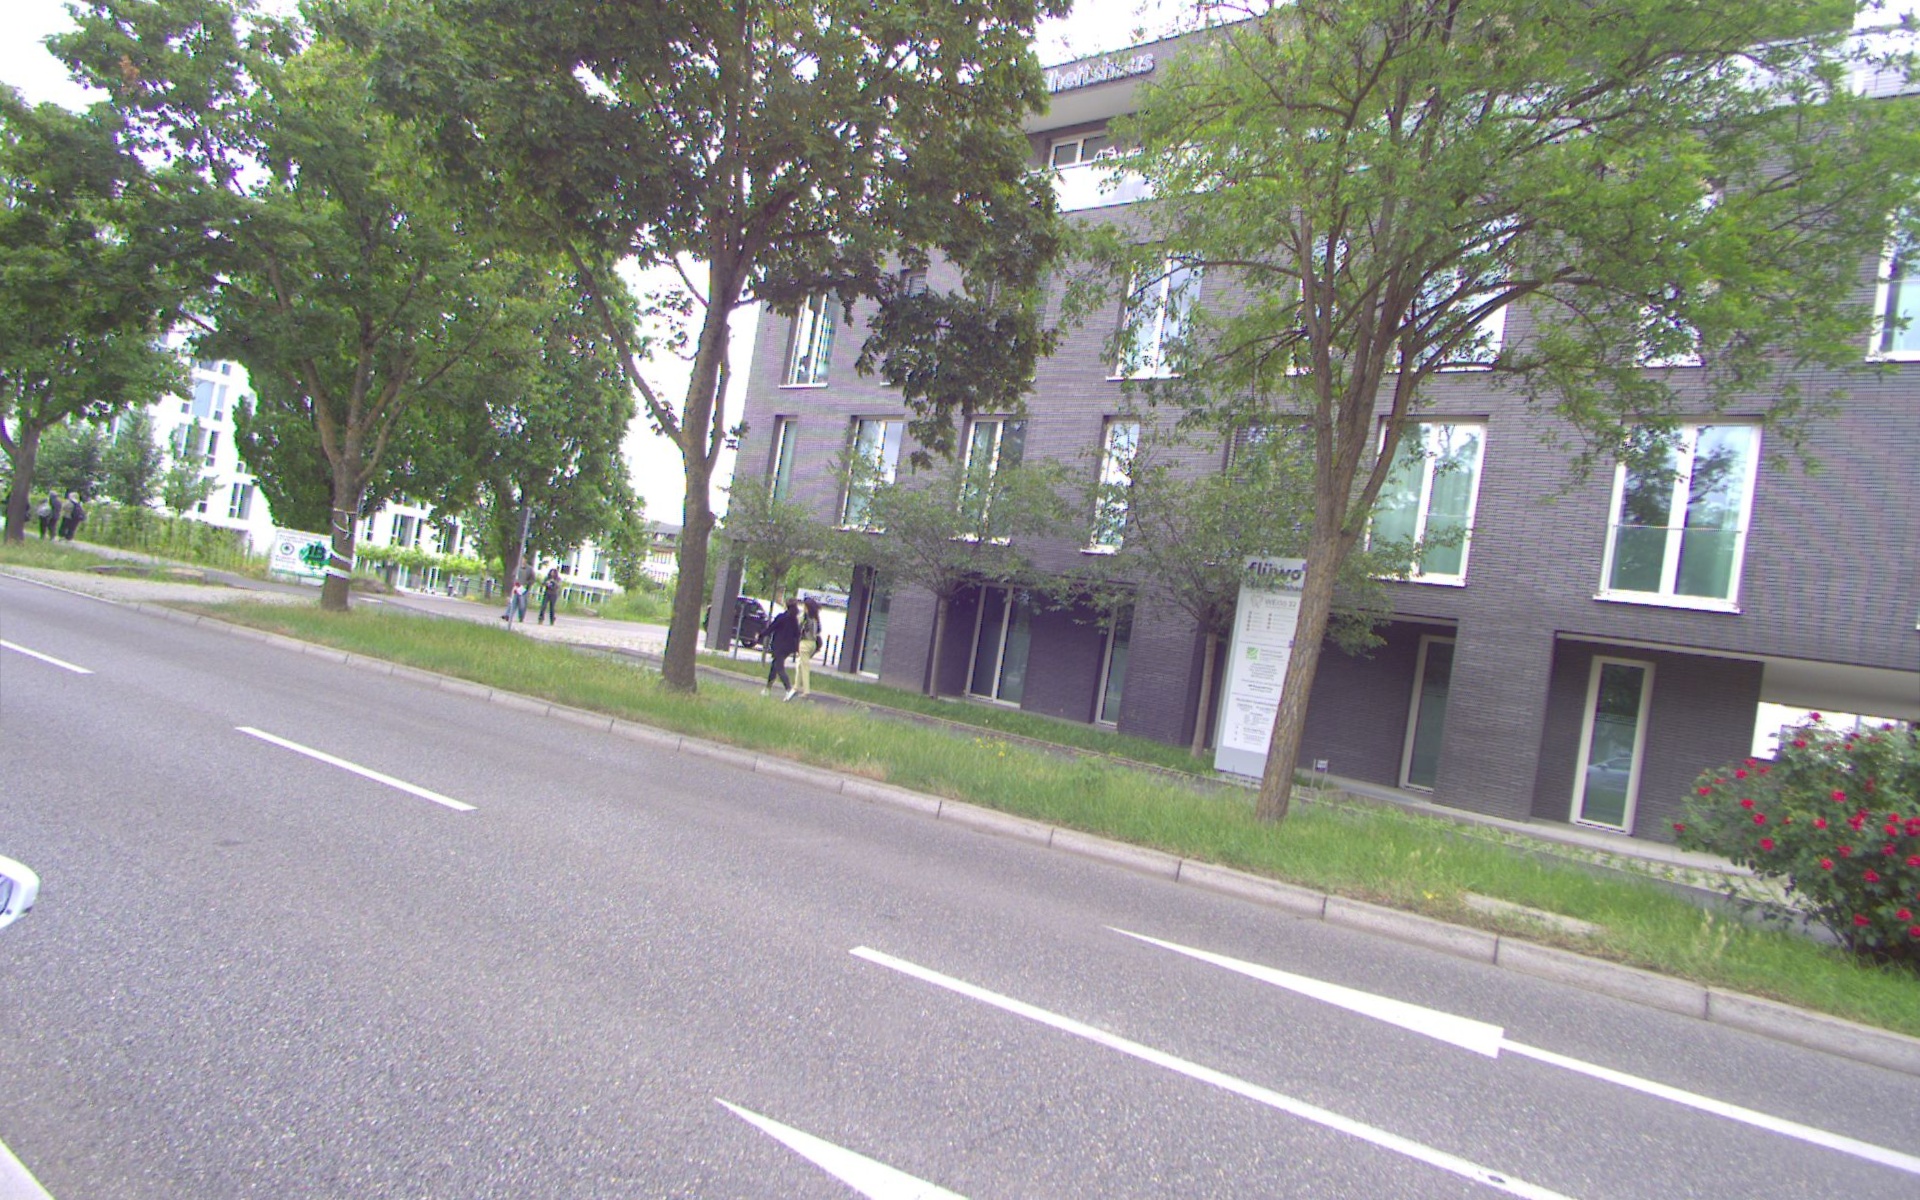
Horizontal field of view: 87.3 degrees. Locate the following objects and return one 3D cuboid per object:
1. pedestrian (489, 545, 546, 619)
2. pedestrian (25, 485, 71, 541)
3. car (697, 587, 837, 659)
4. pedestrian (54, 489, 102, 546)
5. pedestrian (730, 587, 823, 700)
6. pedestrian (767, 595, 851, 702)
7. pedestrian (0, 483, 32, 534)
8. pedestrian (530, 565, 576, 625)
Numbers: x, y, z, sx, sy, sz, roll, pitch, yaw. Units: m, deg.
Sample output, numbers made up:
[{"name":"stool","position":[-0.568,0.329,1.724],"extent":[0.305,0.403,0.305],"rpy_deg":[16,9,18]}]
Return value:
[{"name":"pedestrian","position":[-12.186,-0.471,27.741],"extent":[0.946,1.889,0.978],"rpy_deg":[8,-1,-8]},{"name":"pedestrian","position":[-29.143,-2.775,32.143],"extent":[0.868,1.614,0.701],"rpy_deg":[6,-1,31]},{"name":"car","position":[-6.105,0.713,31.681],"extent":[4.080,1.665,1.759],"rpy_deg":[7,-2,32]},{"name":"pedestrian","position":[-28.788,-2.701,32.839],"extent":[0.868,1.705,0.768],"rpy_deg":[6,-1,31]},{"name":"pedestrian","position":[-3.012,0.717,16.509],"extent":[1.043,1.679,0.796],"rpy_deg":[7,-1,38]},{"name":"pedestrian","position":[-2.570,0.827,17.139],"extent":[0.937,1.679,0.779],"rpy_deg":[7,-1,38]},{"name":"pedestrian","position":[-29.912,-2.901,31.543],"extent":[1.093,1.465,0.791],"rpy_deg":[6,-1,31]},{"name":"pedestrian","position":[-11.473,-0.132,28.363],"extent":[0.821,1.575,0.875],"rpy_deg":[8,-1,-8]}]
